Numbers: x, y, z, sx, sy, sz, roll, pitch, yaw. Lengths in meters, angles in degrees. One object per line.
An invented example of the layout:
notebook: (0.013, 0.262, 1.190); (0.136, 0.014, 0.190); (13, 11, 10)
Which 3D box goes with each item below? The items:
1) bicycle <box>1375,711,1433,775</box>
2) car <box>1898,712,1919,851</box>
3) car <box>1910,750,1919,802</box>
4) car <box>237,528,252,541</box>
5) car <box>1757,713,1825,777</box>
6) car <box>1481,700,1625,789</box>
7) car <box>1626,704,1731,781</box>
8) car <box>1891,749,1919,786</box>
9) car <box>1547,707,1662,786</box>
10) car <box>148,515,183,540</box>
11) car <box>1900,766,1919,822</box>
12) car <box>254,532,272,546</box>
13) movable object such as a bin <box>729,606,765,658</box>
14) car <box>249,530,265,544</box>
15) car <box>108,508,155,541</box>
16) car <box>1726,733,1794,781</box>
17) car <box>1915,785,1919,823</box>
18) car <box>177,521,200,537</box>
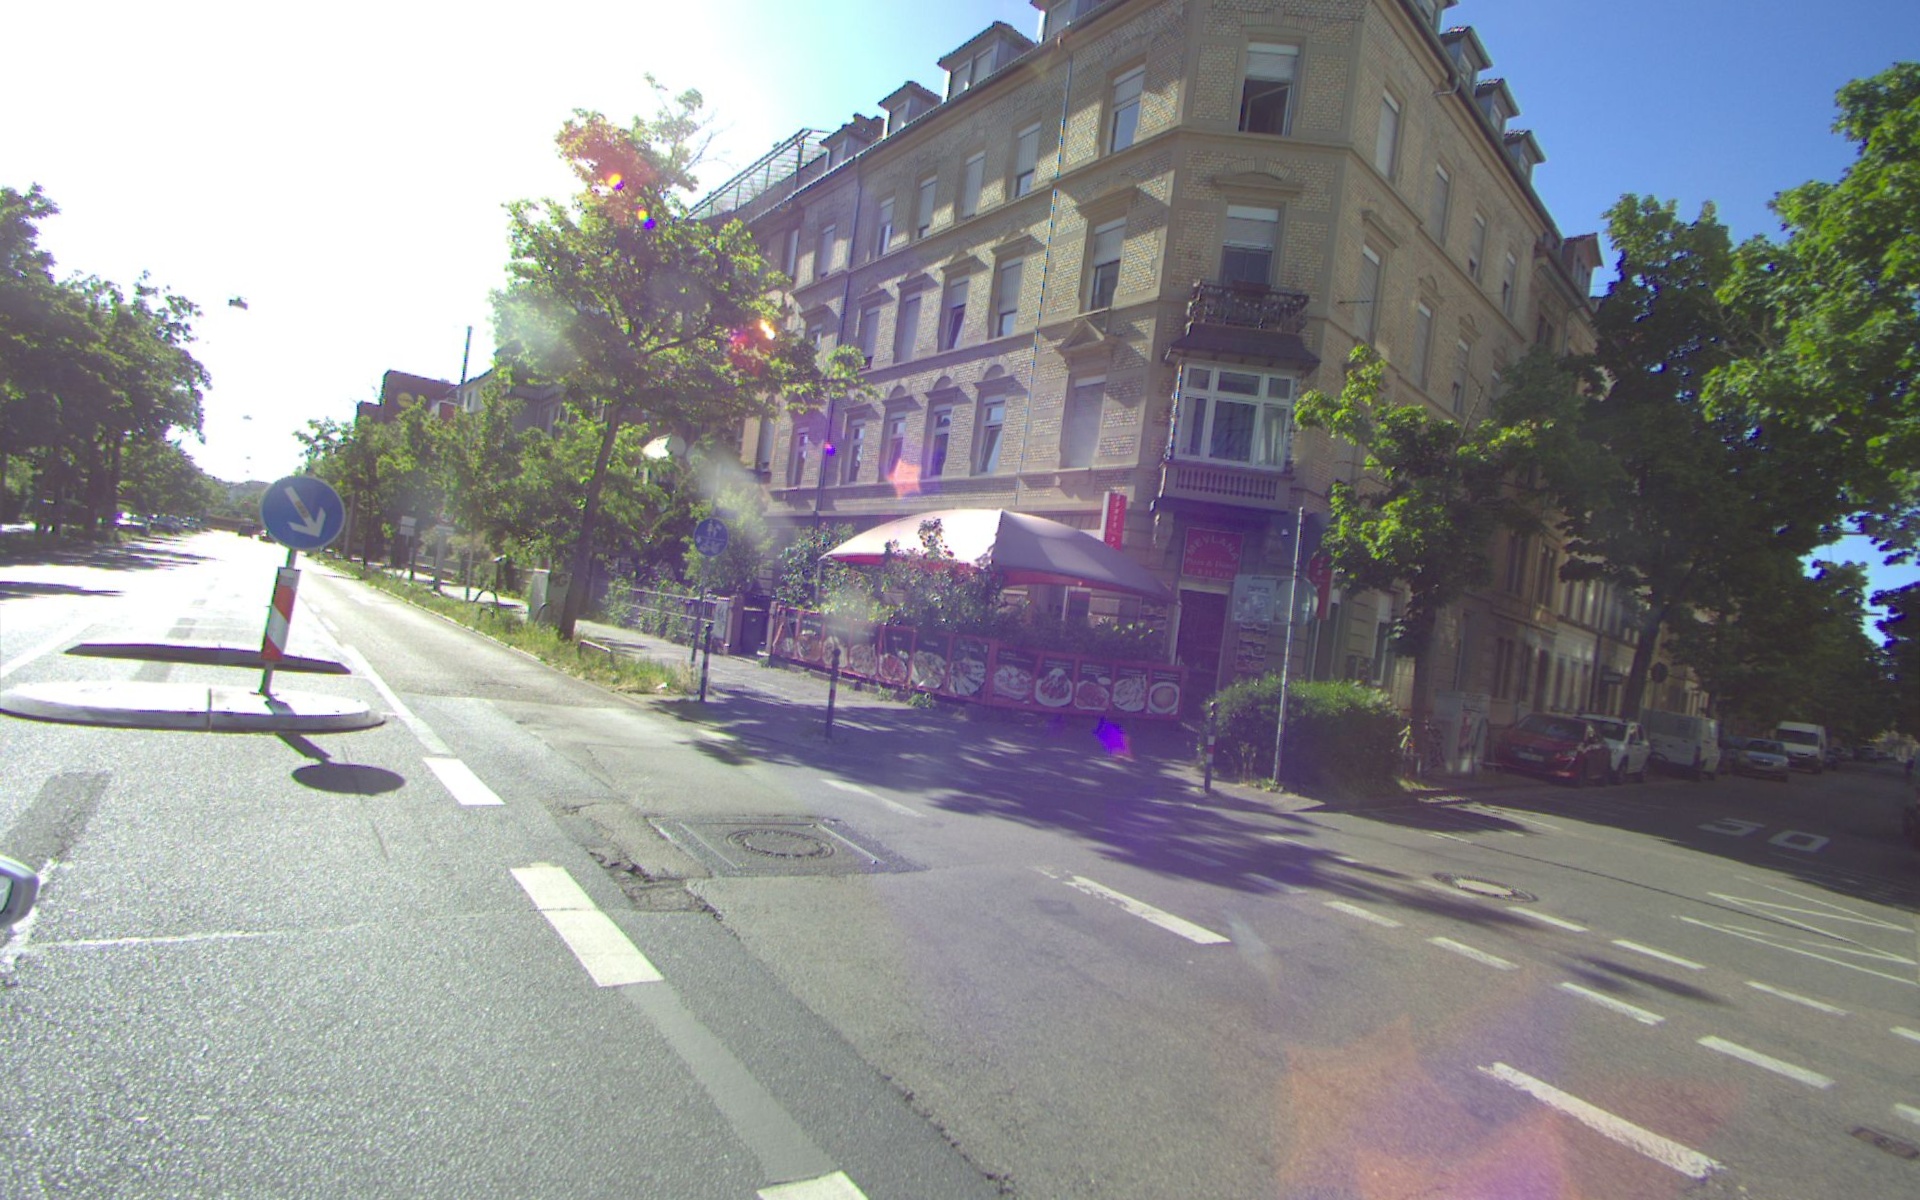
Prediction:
bicycle: (7.500, 2.402, 16.974); (0.388, 0.985, 1.307); (7, -1, 43)
car: (19.555, 3.560, 19.127); (2.190, 2.480, 5.071); (7, -1, 42)
car: (37.893, 6.910, 38.659); (3.978, 1.903, 1.755); (9, -2, -45)
car: (-119.738, -10.968, 168.356); (1.748, 1.805, 3.962); (7, -1, -35)
car: (42.066, 7.379, 50.885); (2.245, 2.691, 4.305); (7, -3, 43)
car: (13.080, 3.197, 22.093); (1.754, 1.458, 3.983); (11, 0, 43)
car: (23.278, 4.643, 32.530); (1.971, 2.052, 4.282); (7, -2, 45)
car: (48.270, 8.490, 49.131); (3.949, 1.603, 1.810); (7, -3, 45)
car: (16.359, 3.724, 25.455); (1.672, 1.613, 3.983); (7, -3, 43)
car: (-74.452, -6.758, 94.365); (2.048, 2.038, 4.587); (7, -1, -34)
car: (30.608, 6.141, 31.329); (1.763, 1.575, 3.801); (7, -1, 44)
car: (-100.965, -8.791, 145.738); (1.940, 1.729, 3.962); (7, -1, -35)
movable object such as a bin: (-5.132, 0.767, 24.251); (0.565, 1.146, 0.546); (7, 0, -35)
car: (-108.366, -9.735, 155.072); (1.748, 1.805, 3.962); (7, -1, -35)
car: (-59.438, -5.405, 72.244); (1.981, 2.038, 4.168); (7, -1, -33)
car: (30.957, 6.074, 38.906); (1.672, 1.489, 3.983); (7, -3, 43)
car: (26.827, 5.246, 26.920); (1.673, 1.575, 3.801); (7, -1, 44)
car: (-103.083, -9.462, 134.457); (1.981, 1.716, 3.964); (7, -1, -34)
